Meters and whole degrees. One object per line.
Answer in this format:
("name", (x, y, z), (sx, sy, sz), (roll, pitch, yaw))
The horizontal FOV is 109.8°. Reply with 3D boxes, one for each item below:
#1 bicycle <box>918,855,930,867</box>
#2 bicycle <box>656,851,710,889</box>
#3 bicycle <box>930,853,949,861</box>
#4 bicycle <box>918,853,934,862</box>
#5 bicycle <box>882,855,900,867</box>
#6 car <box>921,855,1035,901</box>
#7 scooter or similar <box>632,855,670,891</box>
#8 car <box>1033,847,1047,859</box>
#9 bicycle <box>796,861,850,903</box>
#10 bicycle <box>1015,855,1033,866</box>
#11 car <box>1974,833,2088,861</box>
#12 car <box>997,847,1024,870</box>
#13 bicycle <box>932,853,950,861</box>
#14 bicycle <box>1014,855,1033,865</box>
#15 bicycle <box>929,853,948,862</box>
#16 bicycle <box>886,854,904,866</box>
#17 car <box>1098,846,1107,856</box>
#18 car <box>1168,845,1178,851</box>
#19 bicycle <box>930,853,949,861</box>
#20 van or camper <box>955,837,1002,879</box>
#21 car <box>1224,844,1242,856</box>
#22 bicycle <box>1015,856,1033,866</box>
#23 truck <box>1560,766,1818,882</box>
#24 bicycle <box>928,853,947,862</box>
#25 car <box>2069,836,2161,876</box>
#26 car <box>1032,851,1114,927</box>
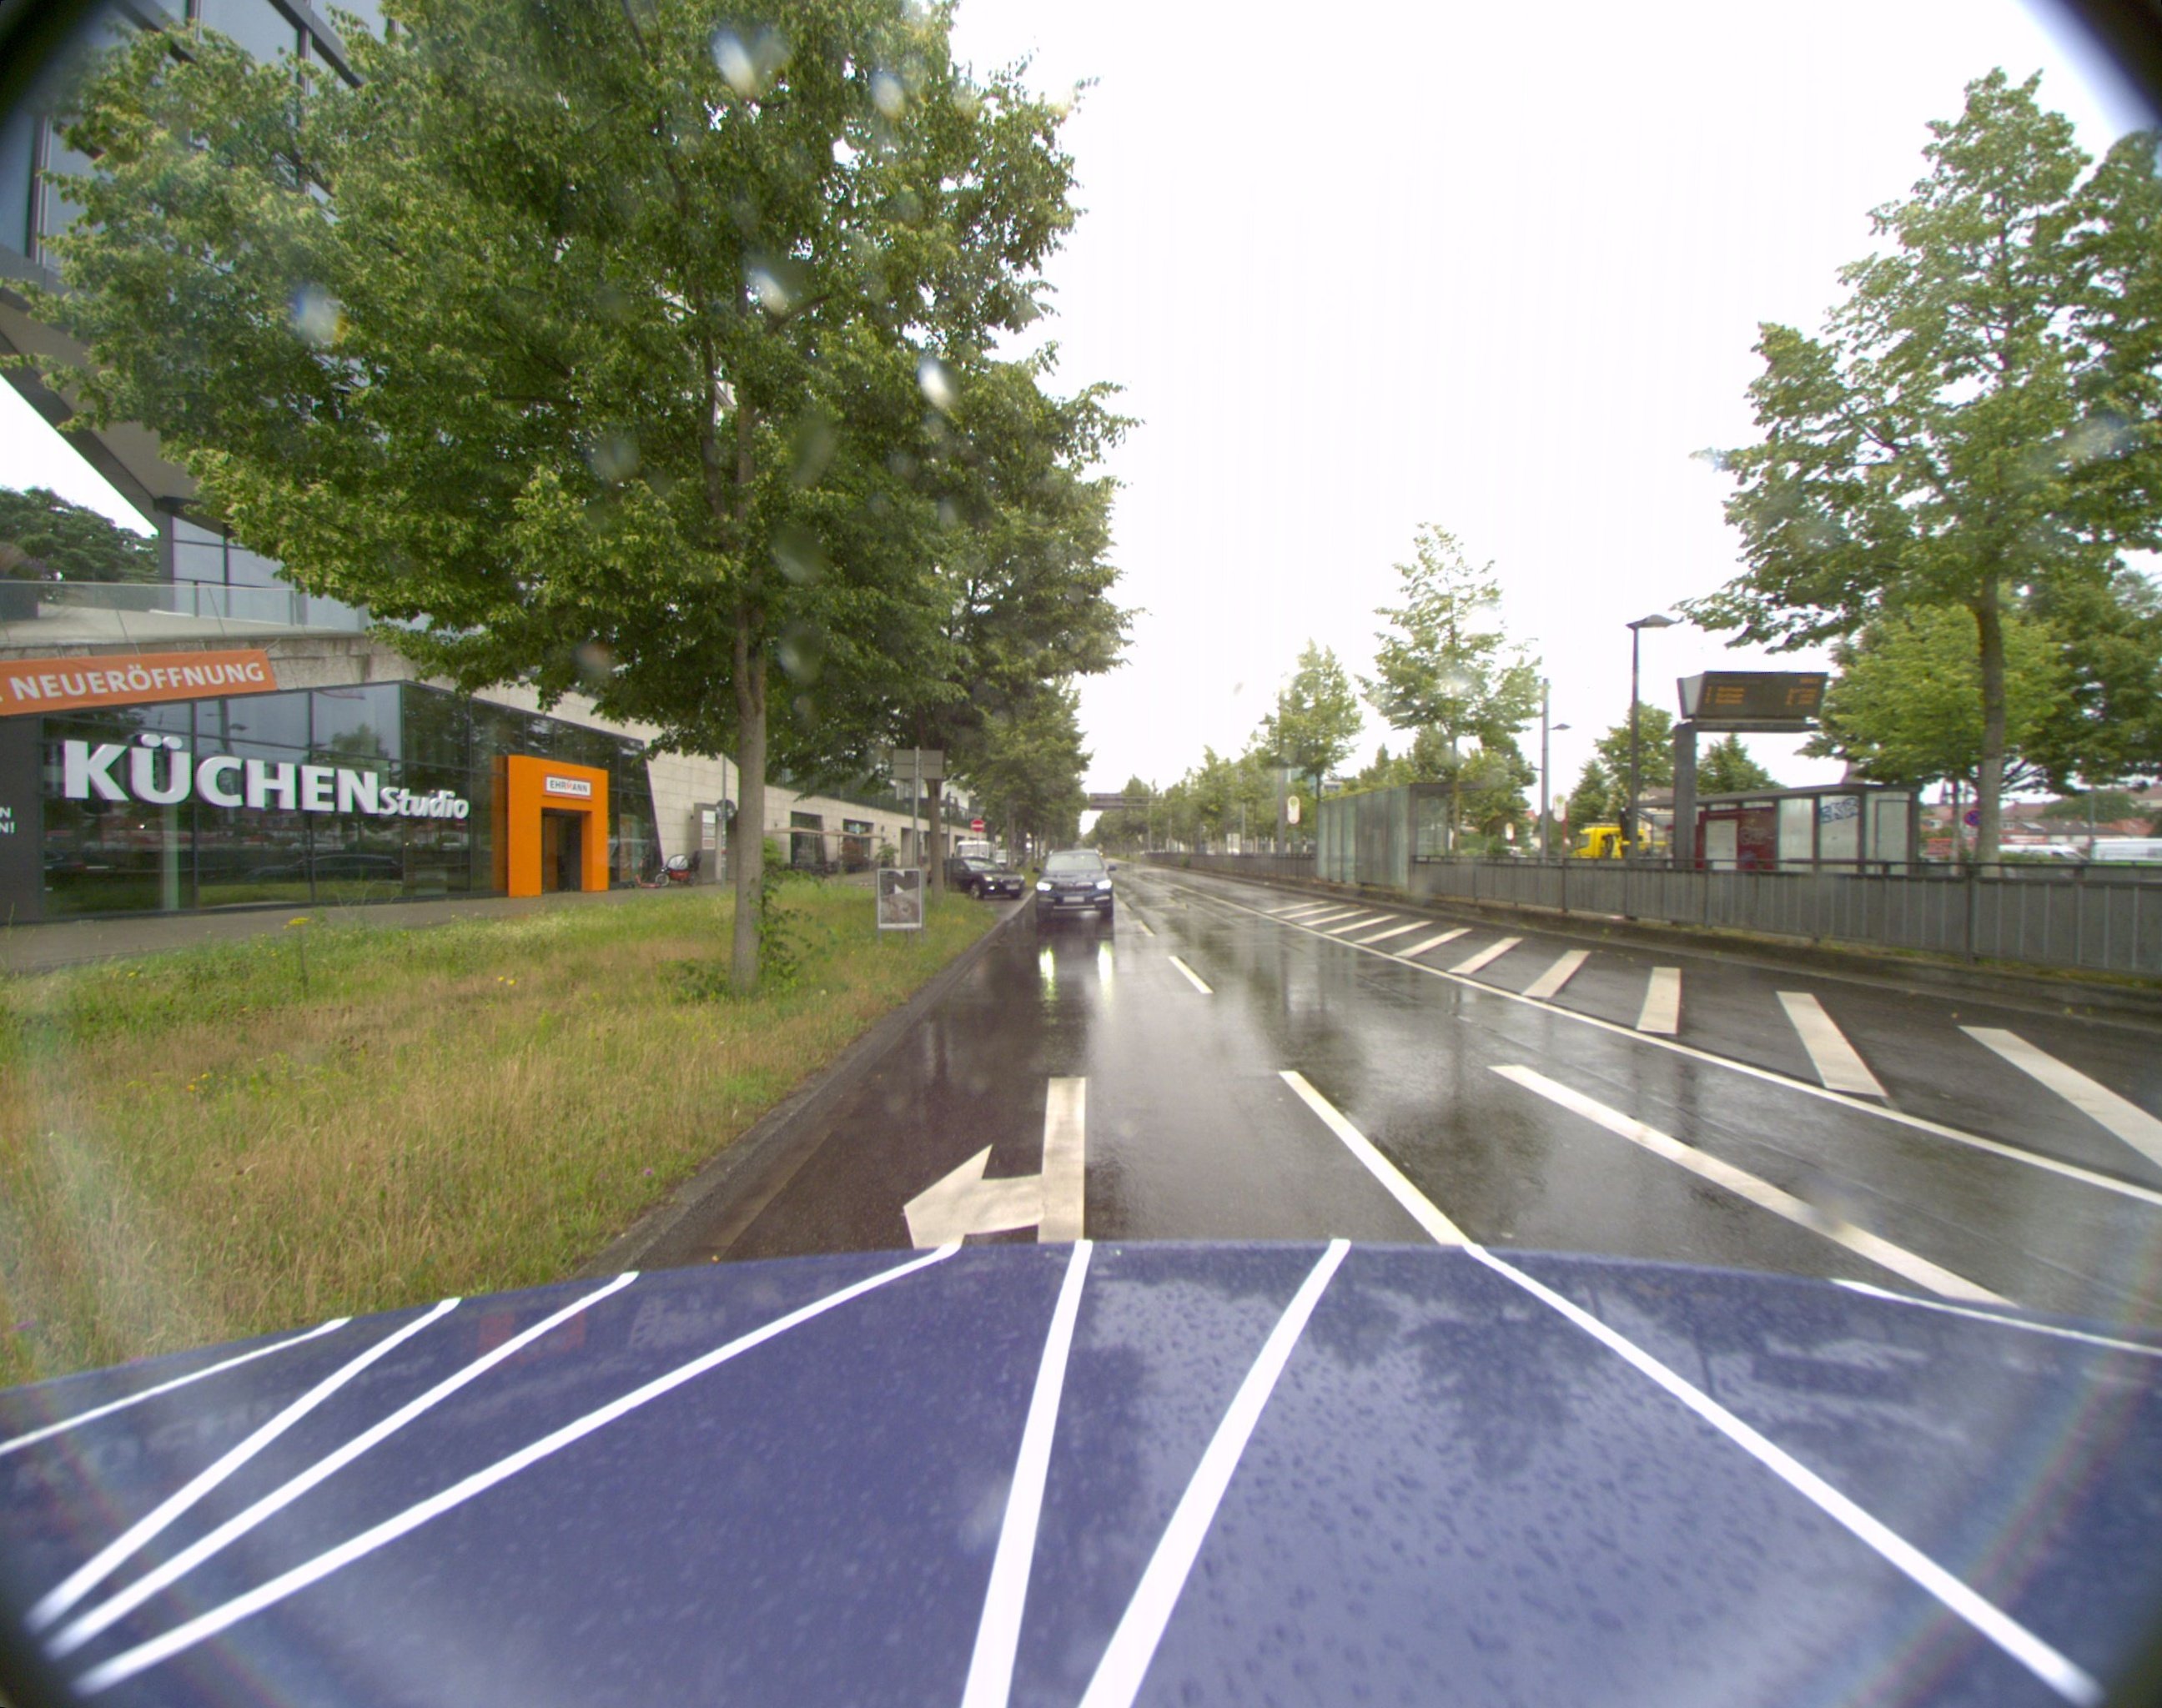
("bicycle", (-13.265, 0.567, 64.134), (0.402, 0.940, 1.859), (-1, 1, 8))
("bicycle", (-15.438, 0.600, 29.561), (0.734, 1.394, 2.425), (1, 0, 1))
("bicycle", (-15.843, 0.344, 84.850), (2.029, 0.940, 0.395), (1, 1, -4))
("bicycle", (-16.295, 0.397, 79.860), (1.657, 0.940, 0.347), (1, 1, 19))
("bicycle", (-15.362, 0.552, 61.343), (0.396, 0.940, 2.024), (-4, 2, -45))
("car", (-3.657, 0.782, 26.505), (1.836, 1.412, 4.333), (-2, 1, -41))
("scooter or similar", (-15.654, 0.672, 27.674), (0.342, 1.221, 1.242), (-2, 1, 19))
("car", (-5.997, -0.175, 111.449), (1.659, 1.711, 3.999), (-2, 1, 0))
("bicycle", (-8.602, 0.925, 25.287), (1.843, 1.338, 0.533), (-1, 0, 26))
("bicycle", (-5.517, 0.650, 73.666), (1.649, 0.940, 0.395), (-2, 2, -4))
("car", (84.266, -0.610, 67.551), (2.000, 2.293, 6.138), (-3, 1, -9))
("car", (-5.740, 0.314, 62.313), (1.746, 1.749, 4.847), (-1, 1, 0))
("bicycle", (-15.976, 0.319, 86.673), (2.029, 0.940, 0.395), (1, 1, -4))
("bicycle", (-5.725, 0.611, 75.495), (1.882, 0.940, 0.395), (-2, 2, -4))
("bicycle", (-15.848, 0.349, 84.254), (2.029, 0.940, 0.395), (1, 1, -4))
("bicycle", (-15.180, 0.533, 62.027), (0.396, 0.940, 2.024), (-4, 2, -45))
("car", (5.247, -0.726, 188.226), (1.998, 2.232, 3.999), (-2, 1, 1))
("car", (24.867, -1.636, 205.388), (1.999, 1.736, 3.998), (-2, 1, -2))
("bicycle", (-15.899, 0.326, 85.425), (2.029, 0.940, 0.395), (1, 1, -4))
("van or camper", (-5.859, 0.196, 44.108), (2.030, 2.279, 5.459), (-1, 1, 0))
("car", (25.136, -0.685, 125.676), (1.999, 1.736, 3.998), (-2, 1, -2))
("bicycle", (-5.514, 0.681, 73.068), (1.699, 0.940, 0.395), (-2, 2, -4))
("truck", (23.199, -1.082, 29.961), (2.694, 3.756, 9.179), (-2, 1, -1))
("bicycle", (-15.773, 0.355, 83.556), (2.029, 0.940, 0.395), (1, 1, -4))
("car", (70.107, 0.102, 49.647), (1.999, 2.448, 6.744), (-2, 1, -4))
("car", (-0.152, 0.789, 19.246), (1.816, 1.603, 3.999), (-2, 1, 1))
